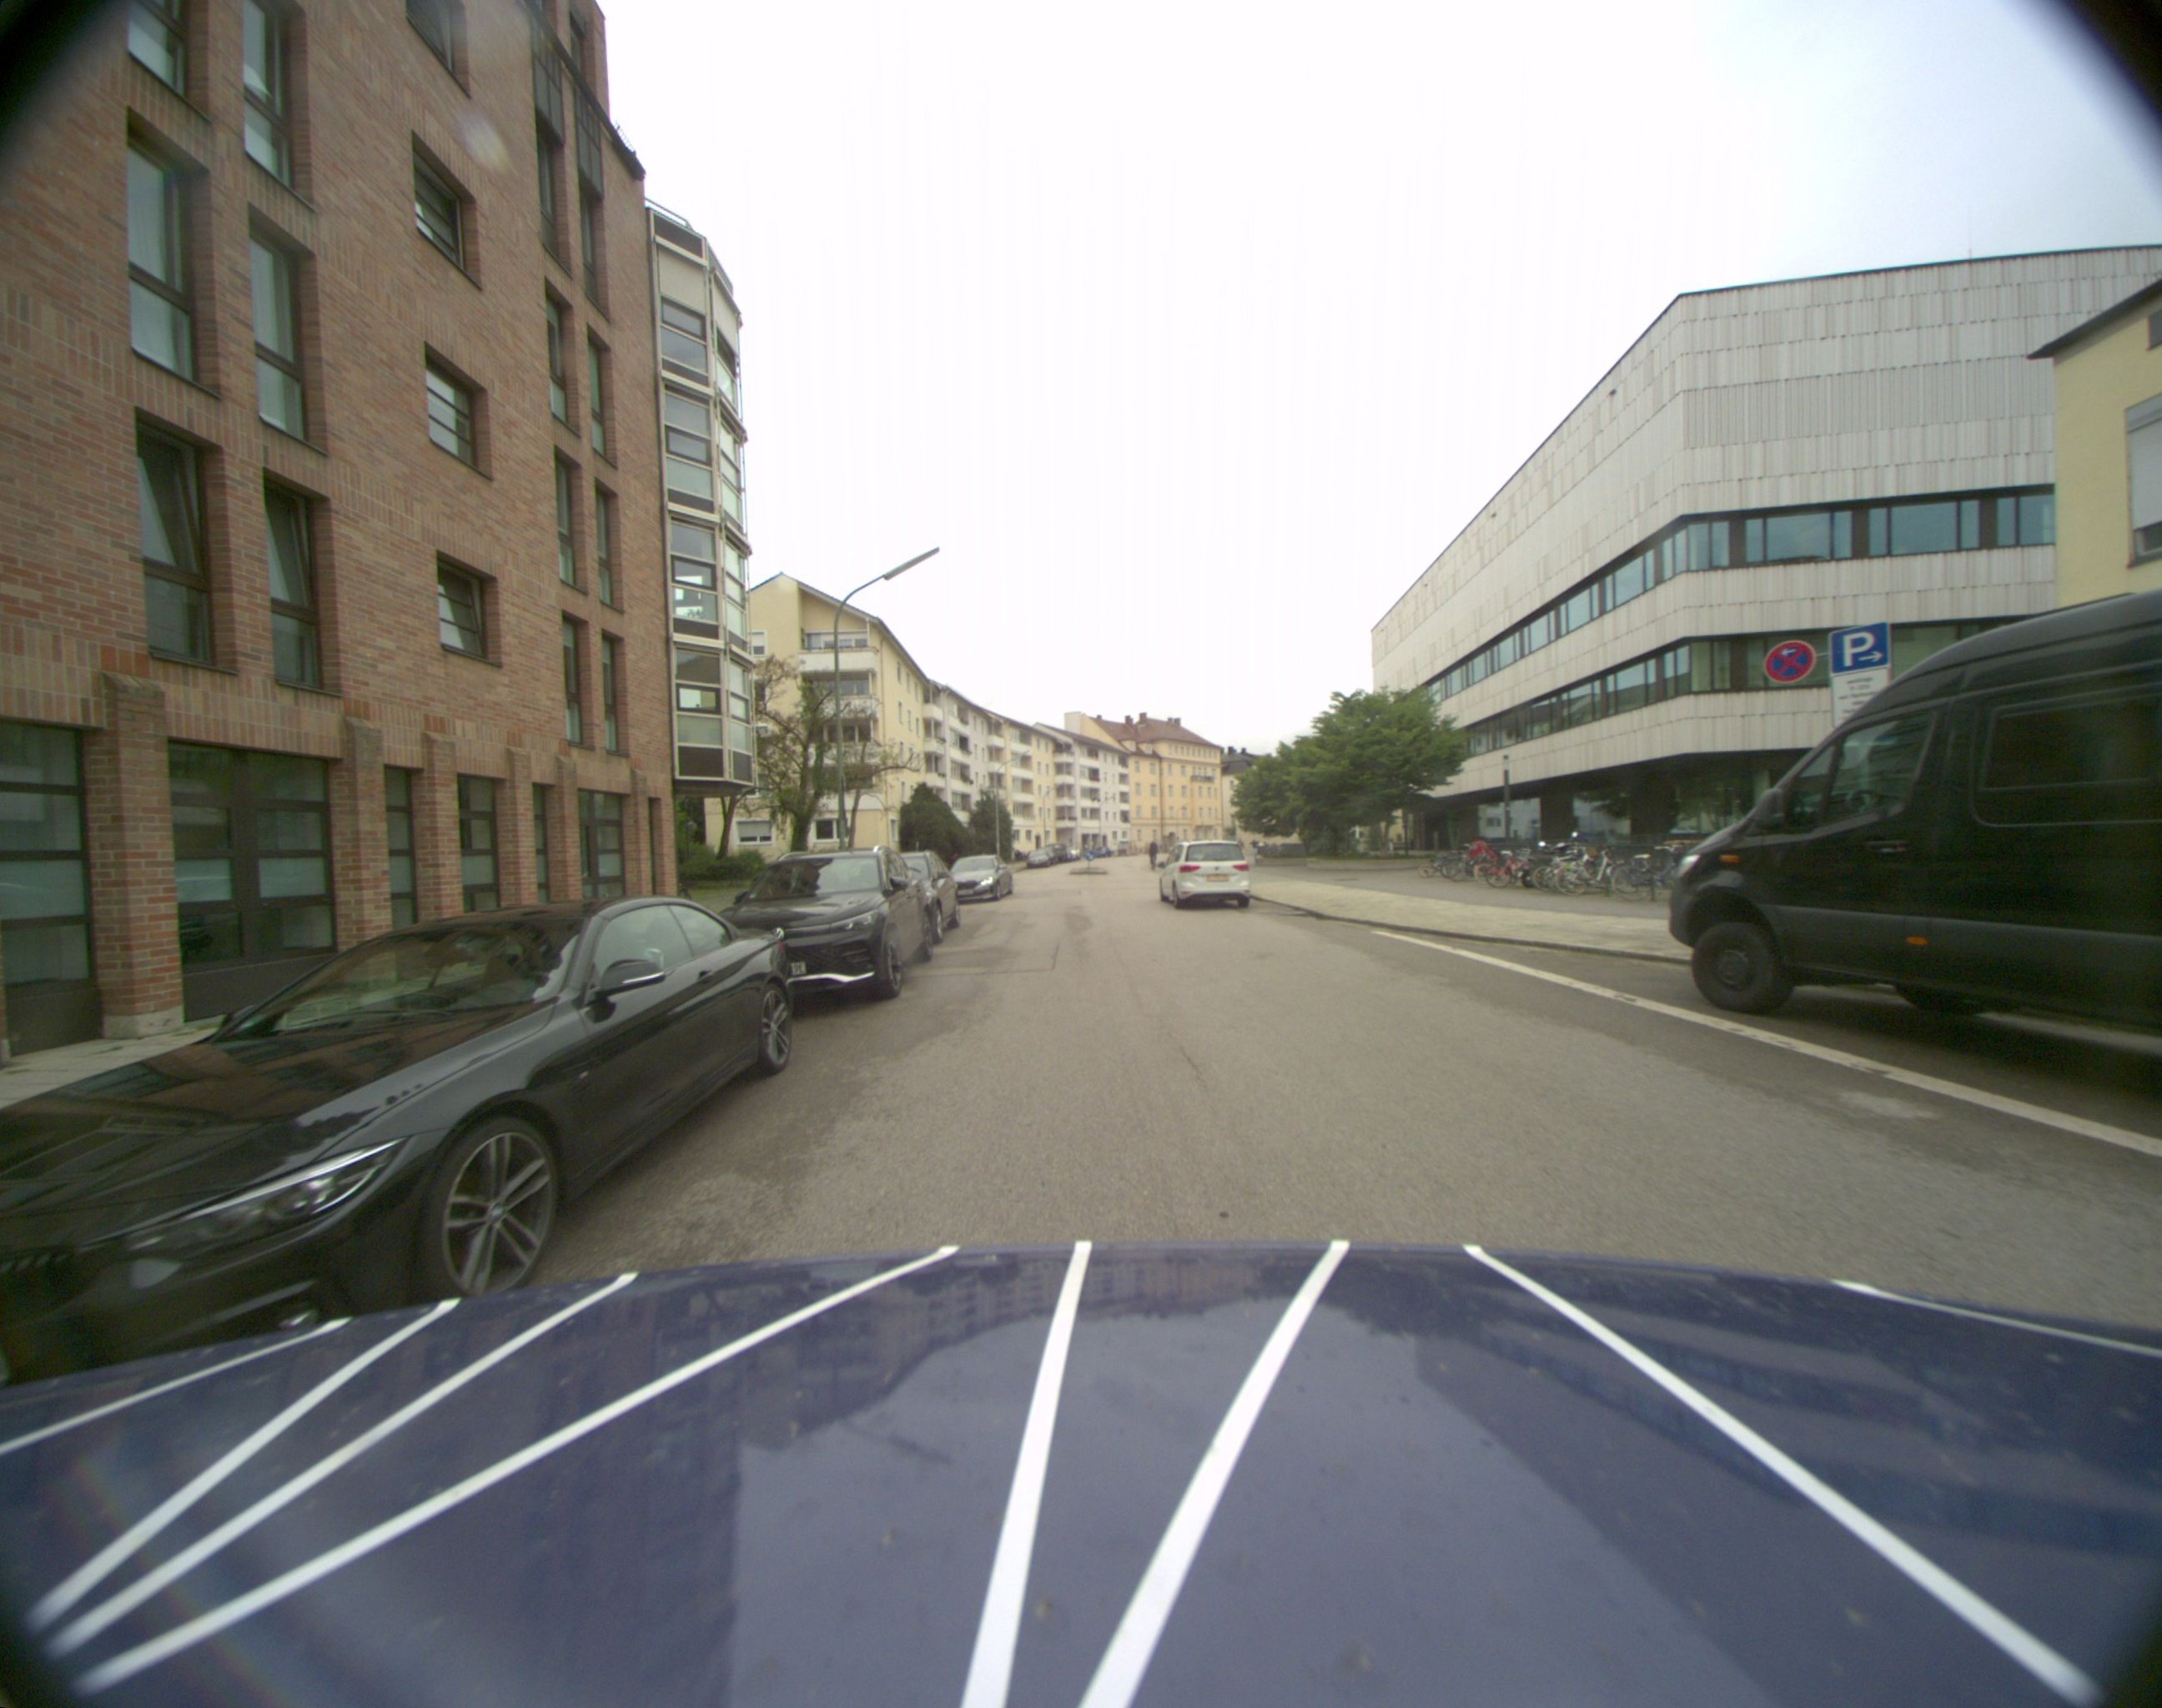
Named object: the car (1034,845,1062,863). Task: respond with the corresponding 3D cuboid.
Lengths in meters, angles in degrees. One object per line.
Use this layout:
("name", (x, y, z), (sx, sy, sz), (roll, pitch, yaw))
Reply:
("car", (-2.874, -0.059, 67.030), (1.823, 1.467, 4.001), (-2, 1, 5))

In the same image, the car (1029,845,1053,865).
("car", (-3.242, 0.066, 61.939), (1.755, 1.483, 3.999), (-2, 1, 0))

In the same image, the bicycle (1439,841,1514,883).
("bicycle", (12.205, 0.238, 23.473), (1.914, 1.187, 0.745), (-2, 2, 1))

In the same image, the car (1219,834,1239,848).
("car", (22.143, -1.957, 113.387), (1.890, 2.002, 4.006), (-2, 2, 26))

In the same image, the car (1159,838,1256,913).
("car", (3.091, 0.453, 19.339), (1.797, 1.664, 4.148), (-1, 1, 1))

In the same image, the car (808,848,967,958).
("car", (-3.319, 0.733, 13.954), (1.882, 1.582, 4.505), (-2, 1, -3))

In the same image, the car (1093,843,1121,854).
("car", (3.307, -0.690, 96.318), (1.680, 1.281, 4.007), (-1, 1, 31))

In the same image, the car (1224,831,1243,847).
("car", (23.927, -2.323, 118.778), (1.890, 2.343, 4.006), (-2, 2, 26))

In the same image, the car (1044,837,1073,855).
("car", (-2.068, -0.778, 71.671), (1.997, 1.587, 4.002), (-2, 1, 8))

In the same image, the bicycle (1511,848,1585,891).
("bicycle", (12.058, 0.405, 19.626), (1.586, 1.005, 0.442), (-3, 2, 1))

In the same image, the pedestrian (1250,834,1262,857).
("pedestrian", (13.964, -0.685, 60.594), (0.787, 1.776, 0.516), (-3, 2, -1))

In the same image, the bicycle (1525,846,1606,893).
("bicycle", (12.067, 0.376, 18.946), (1.657, 1.097, 0.500), (-2, 2, 3))

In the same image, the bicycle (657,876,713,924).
("bicycle", (-9.689, 1.101, 18.659), (0.536, 1.050, 1.518), (-2, 1, 0))

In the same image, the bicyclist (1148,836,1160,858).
("bicyclist", (4.517, -0.433, 46.826), (0.618, 1.343, 0.832), (-2, 2, 0))

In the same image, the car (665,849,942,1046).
("car", (-2.941, 0.826, 9.246), (1.883, 1.636, 4.641), (-4, 1, -5))

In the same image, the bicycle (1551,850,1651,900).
("bicycle", (11.653, 0.466, 17.061), (1.815, 1.017, 0.519), (-2, 2, 4))

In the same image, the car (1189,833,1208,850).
("car", (14.952, -1.623, 96.277), (1.891, 2.002, 4.003), (-2, 1, 15))

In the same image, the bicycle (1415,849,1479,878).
("bicycle", (12.670, 0.329, 26.316), (1.850, 0.921, 0.739), (-2, 2, 2))

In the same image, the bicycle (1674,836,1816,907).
("bicycle", (11.416, 0.301, 13.108), (1.814, 1.145, 0.519), (-2, 2, 13))

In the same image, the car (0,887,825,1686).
("car", (-2.968, 1.096, 3.941), (1.762, 1.358, 4.778), (-6, 1, -3))

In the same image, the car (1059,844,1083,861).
("car", (-1.009, -0.146, 79.762), (1.997, 1.630, 4.001), (-2, 1, 7))

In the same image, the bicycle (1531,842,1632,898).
("bicycle", (11.591, 0.369, 17.611), (1.945, 1.209, 0.497), (-2, 2, 4))

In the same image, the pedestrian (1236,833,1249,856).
("pedestrian", (12.520, -0.727, 58.951), (0.787, 1.776, 0.516), (-3, 2, -1))

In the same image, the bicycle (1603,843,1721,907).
("bicycle", (11.255, 0.398, 14.739), (1.815, 1.145, 0.519), (-2, 2, 4))

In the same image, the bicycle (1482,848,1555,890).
("bicycle", (11.698, 0.393, 20.325), (1.585, 1.010, 0.443), (-4, 1, 10))

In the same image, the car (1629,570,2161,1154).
("car", (6.354, 0.037, 4.054), (2.218, 2.837, 6.194), (0, 1, -1))

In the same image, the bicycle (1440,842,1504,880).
("bicycle", (12.964, 0.231, 25.227), (1.815, 1.145, 0.519), (-2, 2, 4))

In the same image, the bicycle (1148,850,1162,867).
("bicycle", (4.539, 0.270, 46.877), (0.707, 1.042, 1.463), (0, 0, 0))

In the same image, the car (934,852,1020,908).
("car", (-3.257, 0.765, 24.601), (1.882, 1.428, 4.333), (-5, 1, 3))

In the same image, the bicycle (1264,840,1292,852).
("bicycle", (17.078, -0.669, 65.838), (2.146, 0.986, 0.798), (-2, 1, -10))

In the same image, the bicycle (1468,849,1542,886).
("bicycle", (12.161, 0.387, 21.799), (1.819, 0.957, 0.473), (-2, 2, 1))
